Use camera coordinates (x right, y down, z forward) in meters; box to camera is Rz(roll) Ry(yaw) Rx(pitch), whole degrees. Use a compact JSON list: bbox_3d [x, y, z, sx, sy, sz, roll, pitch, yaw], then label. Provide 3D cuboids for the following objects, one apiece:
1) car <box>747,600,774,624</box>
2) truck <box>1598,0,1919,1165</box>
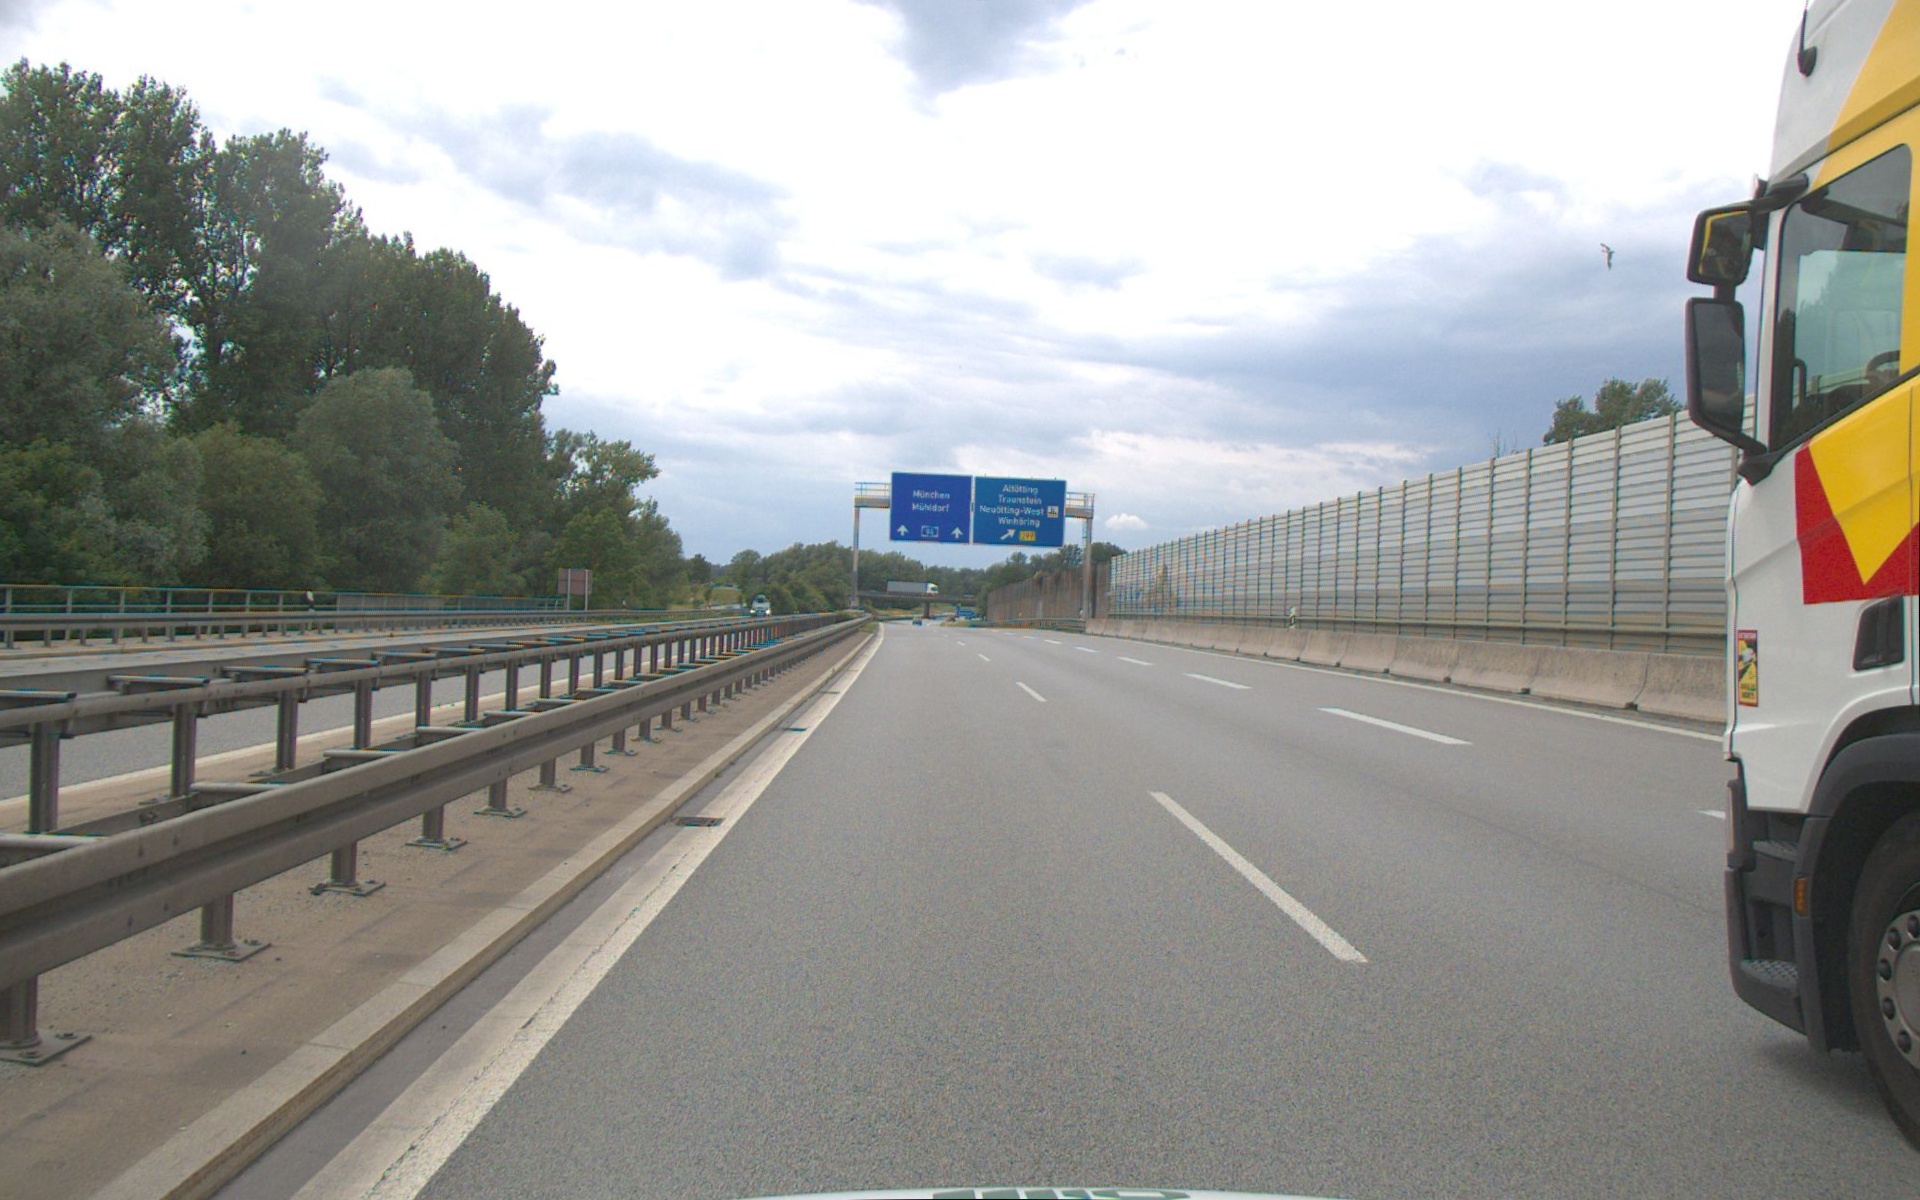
[{"bbox_3d":[-17.108,1.059,142.112,1.954,2.037,4.740,1,-1,-4],"label":"car"},{"bbox_3d":[3.859,-0.535,3.598,2.700,4.029,5.676,0,0,0],"label":"truck"}]
